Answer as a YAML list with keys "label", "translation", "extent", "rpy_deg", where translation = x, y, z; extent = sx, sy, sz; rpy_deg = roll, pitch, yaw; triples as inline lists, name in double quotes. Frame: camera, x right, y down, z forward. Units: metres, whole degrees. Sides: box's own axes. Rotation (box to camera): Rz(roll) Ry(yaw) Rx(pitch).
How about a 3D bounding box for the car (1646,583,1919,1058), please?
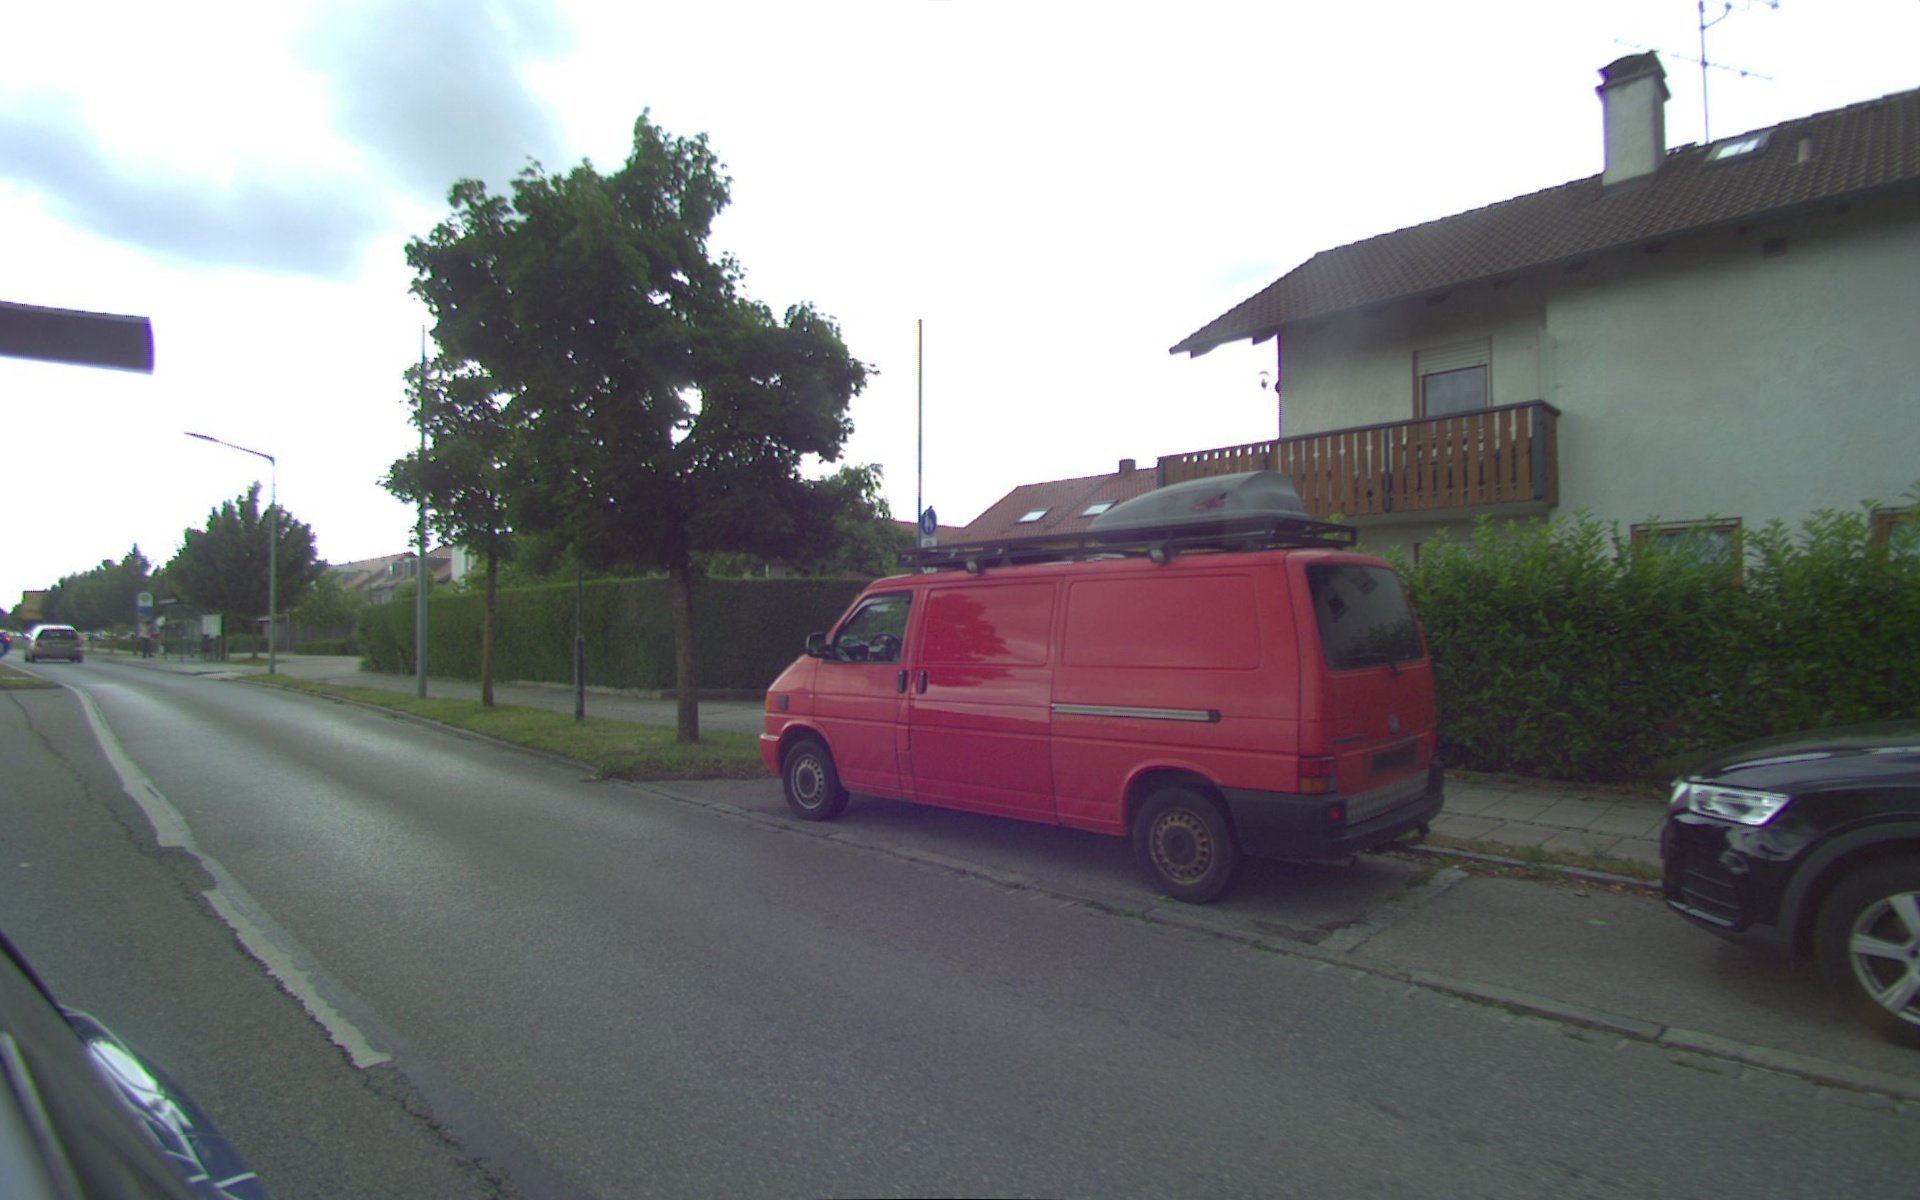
- label: "car"
  translation: [4.836, 0.703, 3.131]
  extent: [4.238, 1.610, 1.752]
  rpy_deg: [-2, -2, 43]

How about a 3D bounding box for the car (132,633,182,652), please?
- label: "car"
  translation: [-96.054, 5.089, 121.042]
  extent: [4.504, 2.029, 2.002]
  rpy_deg: [-1, 0, -43]

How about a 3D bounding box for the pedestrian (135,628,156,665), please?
- label: "pedestrian"
  translation: [-35.922, 2.042, 44.623]
  extent: [0.812, 1.649, 0.582]
  rpy_deg: [-2, -2, 42]

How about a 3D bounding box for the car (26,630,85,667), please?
- label: "car"
  translation: [-39.387, 2.097, 44.046]
  extent: [3.509, 1.544, 1.687]
  rpy_deg: [-2, -4, 45]

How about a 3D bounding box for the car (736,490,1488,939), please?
- label: "car"
  translation: [0.642, 0.599, 7.037]
  extent: [5.046, 2.046, 1.810]
  rpy_deg: [-2, -2, 44]

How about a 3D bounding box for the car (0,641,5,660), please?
- label: "car"
  translation: [-74.652, 3.868, 77.564]
  extent: [4.497, 1.465, 1.899]
  rpy_deg: [-2, -3, 44]
